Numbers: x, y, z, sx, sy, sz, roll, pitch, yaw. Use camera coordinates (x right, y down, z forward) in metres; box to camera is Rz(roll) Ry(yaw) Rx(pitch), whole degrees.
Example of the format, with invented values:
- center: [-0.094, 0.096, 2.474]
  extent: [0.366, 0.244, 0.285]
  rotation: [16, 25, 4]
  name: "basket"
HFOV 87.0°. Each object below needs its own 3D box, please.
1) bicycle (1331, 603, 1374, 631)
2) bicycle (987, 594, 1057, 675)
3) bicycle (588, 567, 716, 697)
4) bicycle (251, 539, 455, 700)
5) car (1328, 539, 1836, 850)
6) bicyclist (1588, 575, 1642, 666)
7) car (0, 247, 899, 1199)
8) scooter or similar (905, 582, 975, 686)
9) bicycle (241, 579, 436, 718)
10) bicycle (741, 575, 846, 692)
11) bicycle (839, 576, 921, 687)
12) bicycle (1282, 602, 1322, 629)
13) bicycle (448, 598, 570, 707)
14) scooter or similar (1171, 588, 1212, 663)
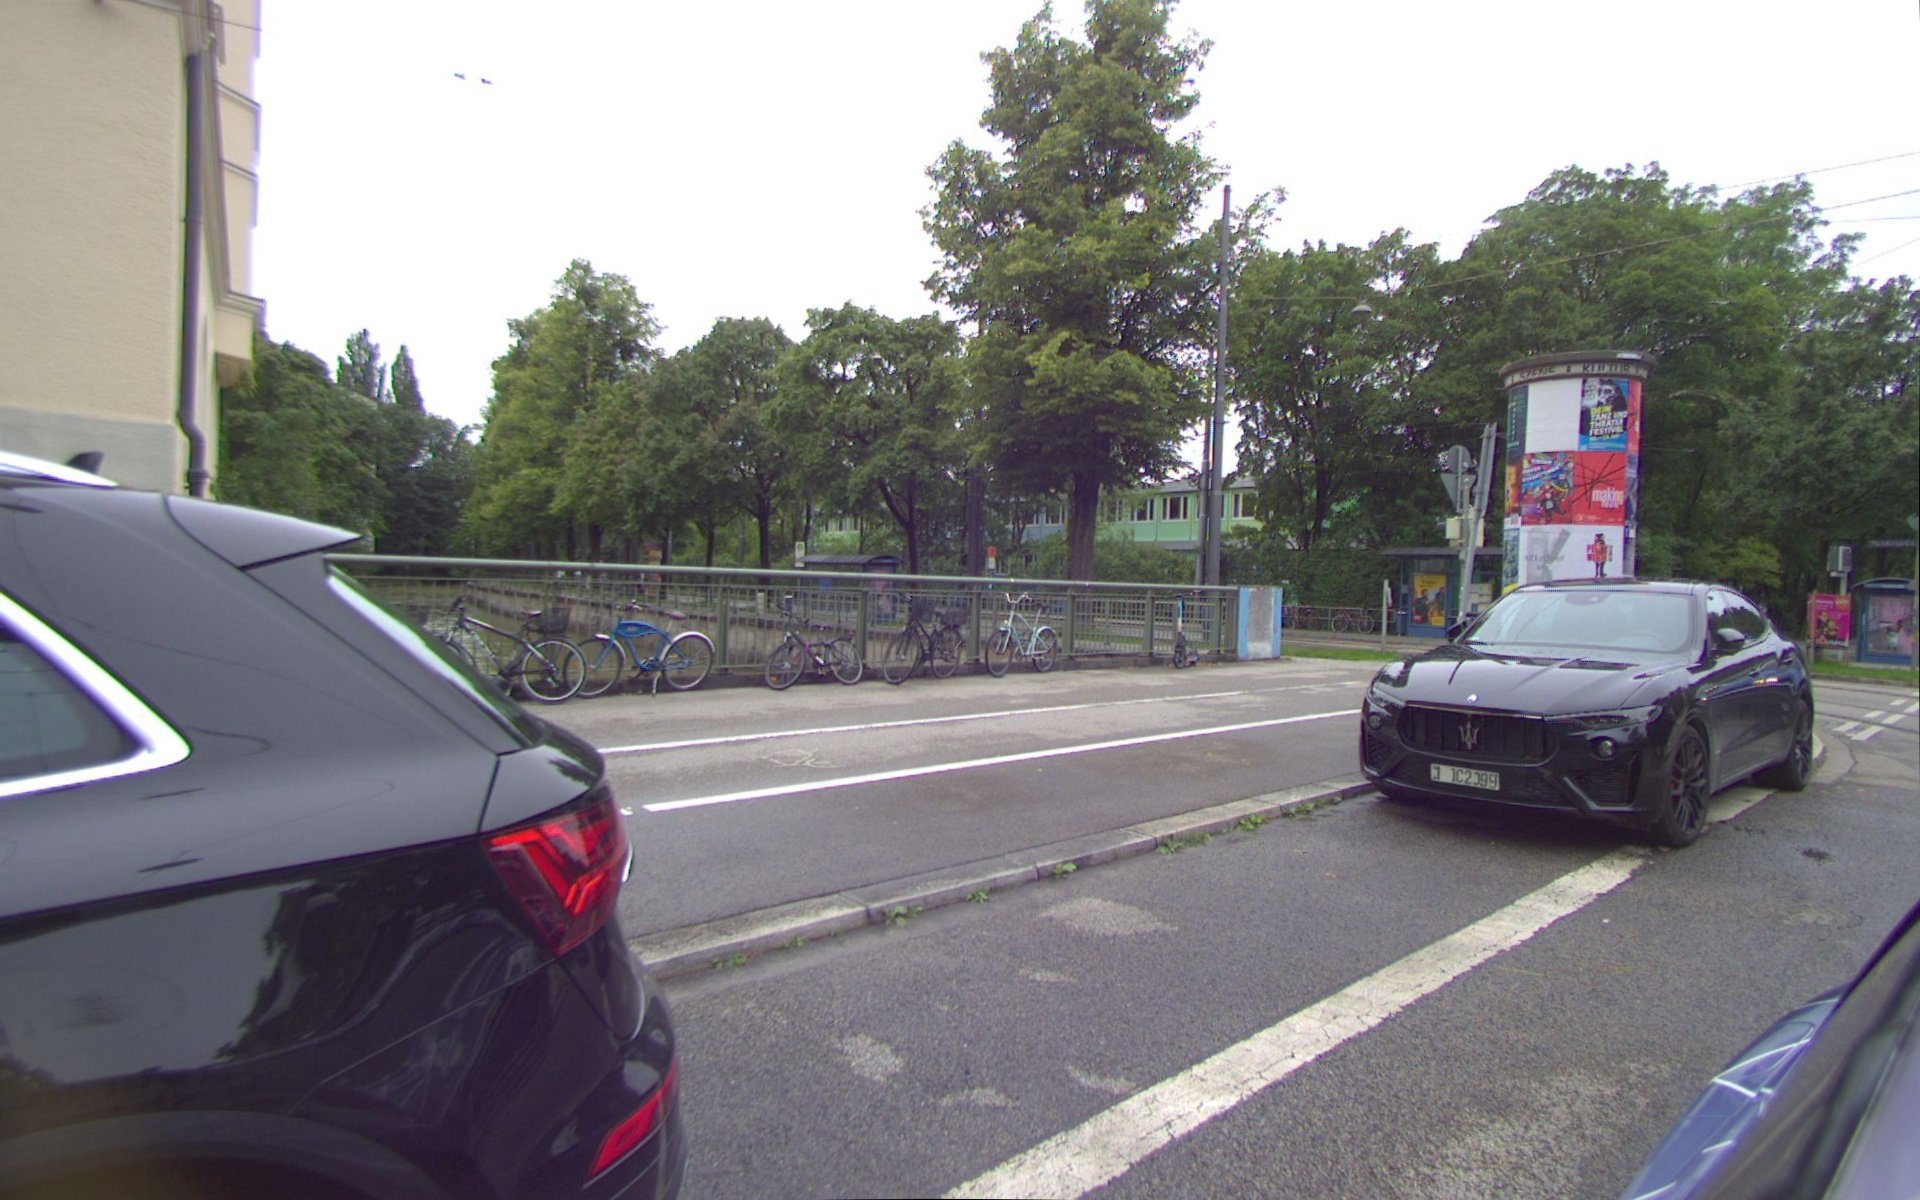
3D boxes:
- center: [14.449, 0.609, 37.246]
  extent: [0.366, 0.964, 1.483]
  rotation: [1, 1, -38]
  name: "bicycle"
- center: [0.902, 0.474, 14.412]
  extent: [0.263, 1.096, 1.524]
  rotation: [0, 0, 34]
  name: "bicycle"
- center: [-3.251, 0.318, 10.765]
  extent: [0.281, 1.298, 1.391]
  rotation: [0, 0, 38]
  name: "bicycle"
- center: [-5.346, 0.162, 8.976]
  extent: [1.511, 1.329, 0.332]
  rotation: [0, 0, -42]
  name: "bicycle"
- center: [4.816, 0.523, 7.524]
  extent: [4.582, 1.630, 1.904]
  rotation: [1, -1, -40]
  name: "car"
- center: [12.870, 0.392, 19.881]
  extent: [0.714, 1.751, 0.725]
  rotation: [1, 0, -41]
  name: "bicyclist"
- center: [-2.352, 0.485, 0.919]
  extent: [4.408, 1.679, 1.778]
  rotation: [0, 0, -40]
  name: "car"
- center: [-0.241, 0.416, 13.178]
  extent: [0.242, 1.279, 1.482]
  rotation: [0, 0, 26]
  name: "scooter or similar"
- center: [-5.388, 0.394, 8.839]
  extent: [0.286, 1.120, 1.421]
  rotation: [1, 1, 42]
  name: "bicycle"
- center: [-1.922, 0.369, 11.823]
  extent: [0.281, 1.298, 1.391]
  rotation: [0, 0, 38]
  name: "bicycle"
- center: [-0.969, 0.369, 12.530]
  extent: [0.280, 1.298, 1.395]
  rotation: [0, 0, 29]
  name: "bicycle"
- center: [13.205, 0.584, 39.088]
  extent: [0.366, 0.964, 1.483]
  rotation: [1, 1, -38]
  name: "bicycle"
- center: [-4.318, 0.480, 9.741]
  extent: [0.247, 0.946, 1.133]
  rotation: [5, 4, 27]
  name: "bicycle"
- center: [3.862, 0.413, 16.831]
  extent: [0.224, 1.227, 1.006]
  rotation: [0, 0, 40]
  name: "scooter or similar"
